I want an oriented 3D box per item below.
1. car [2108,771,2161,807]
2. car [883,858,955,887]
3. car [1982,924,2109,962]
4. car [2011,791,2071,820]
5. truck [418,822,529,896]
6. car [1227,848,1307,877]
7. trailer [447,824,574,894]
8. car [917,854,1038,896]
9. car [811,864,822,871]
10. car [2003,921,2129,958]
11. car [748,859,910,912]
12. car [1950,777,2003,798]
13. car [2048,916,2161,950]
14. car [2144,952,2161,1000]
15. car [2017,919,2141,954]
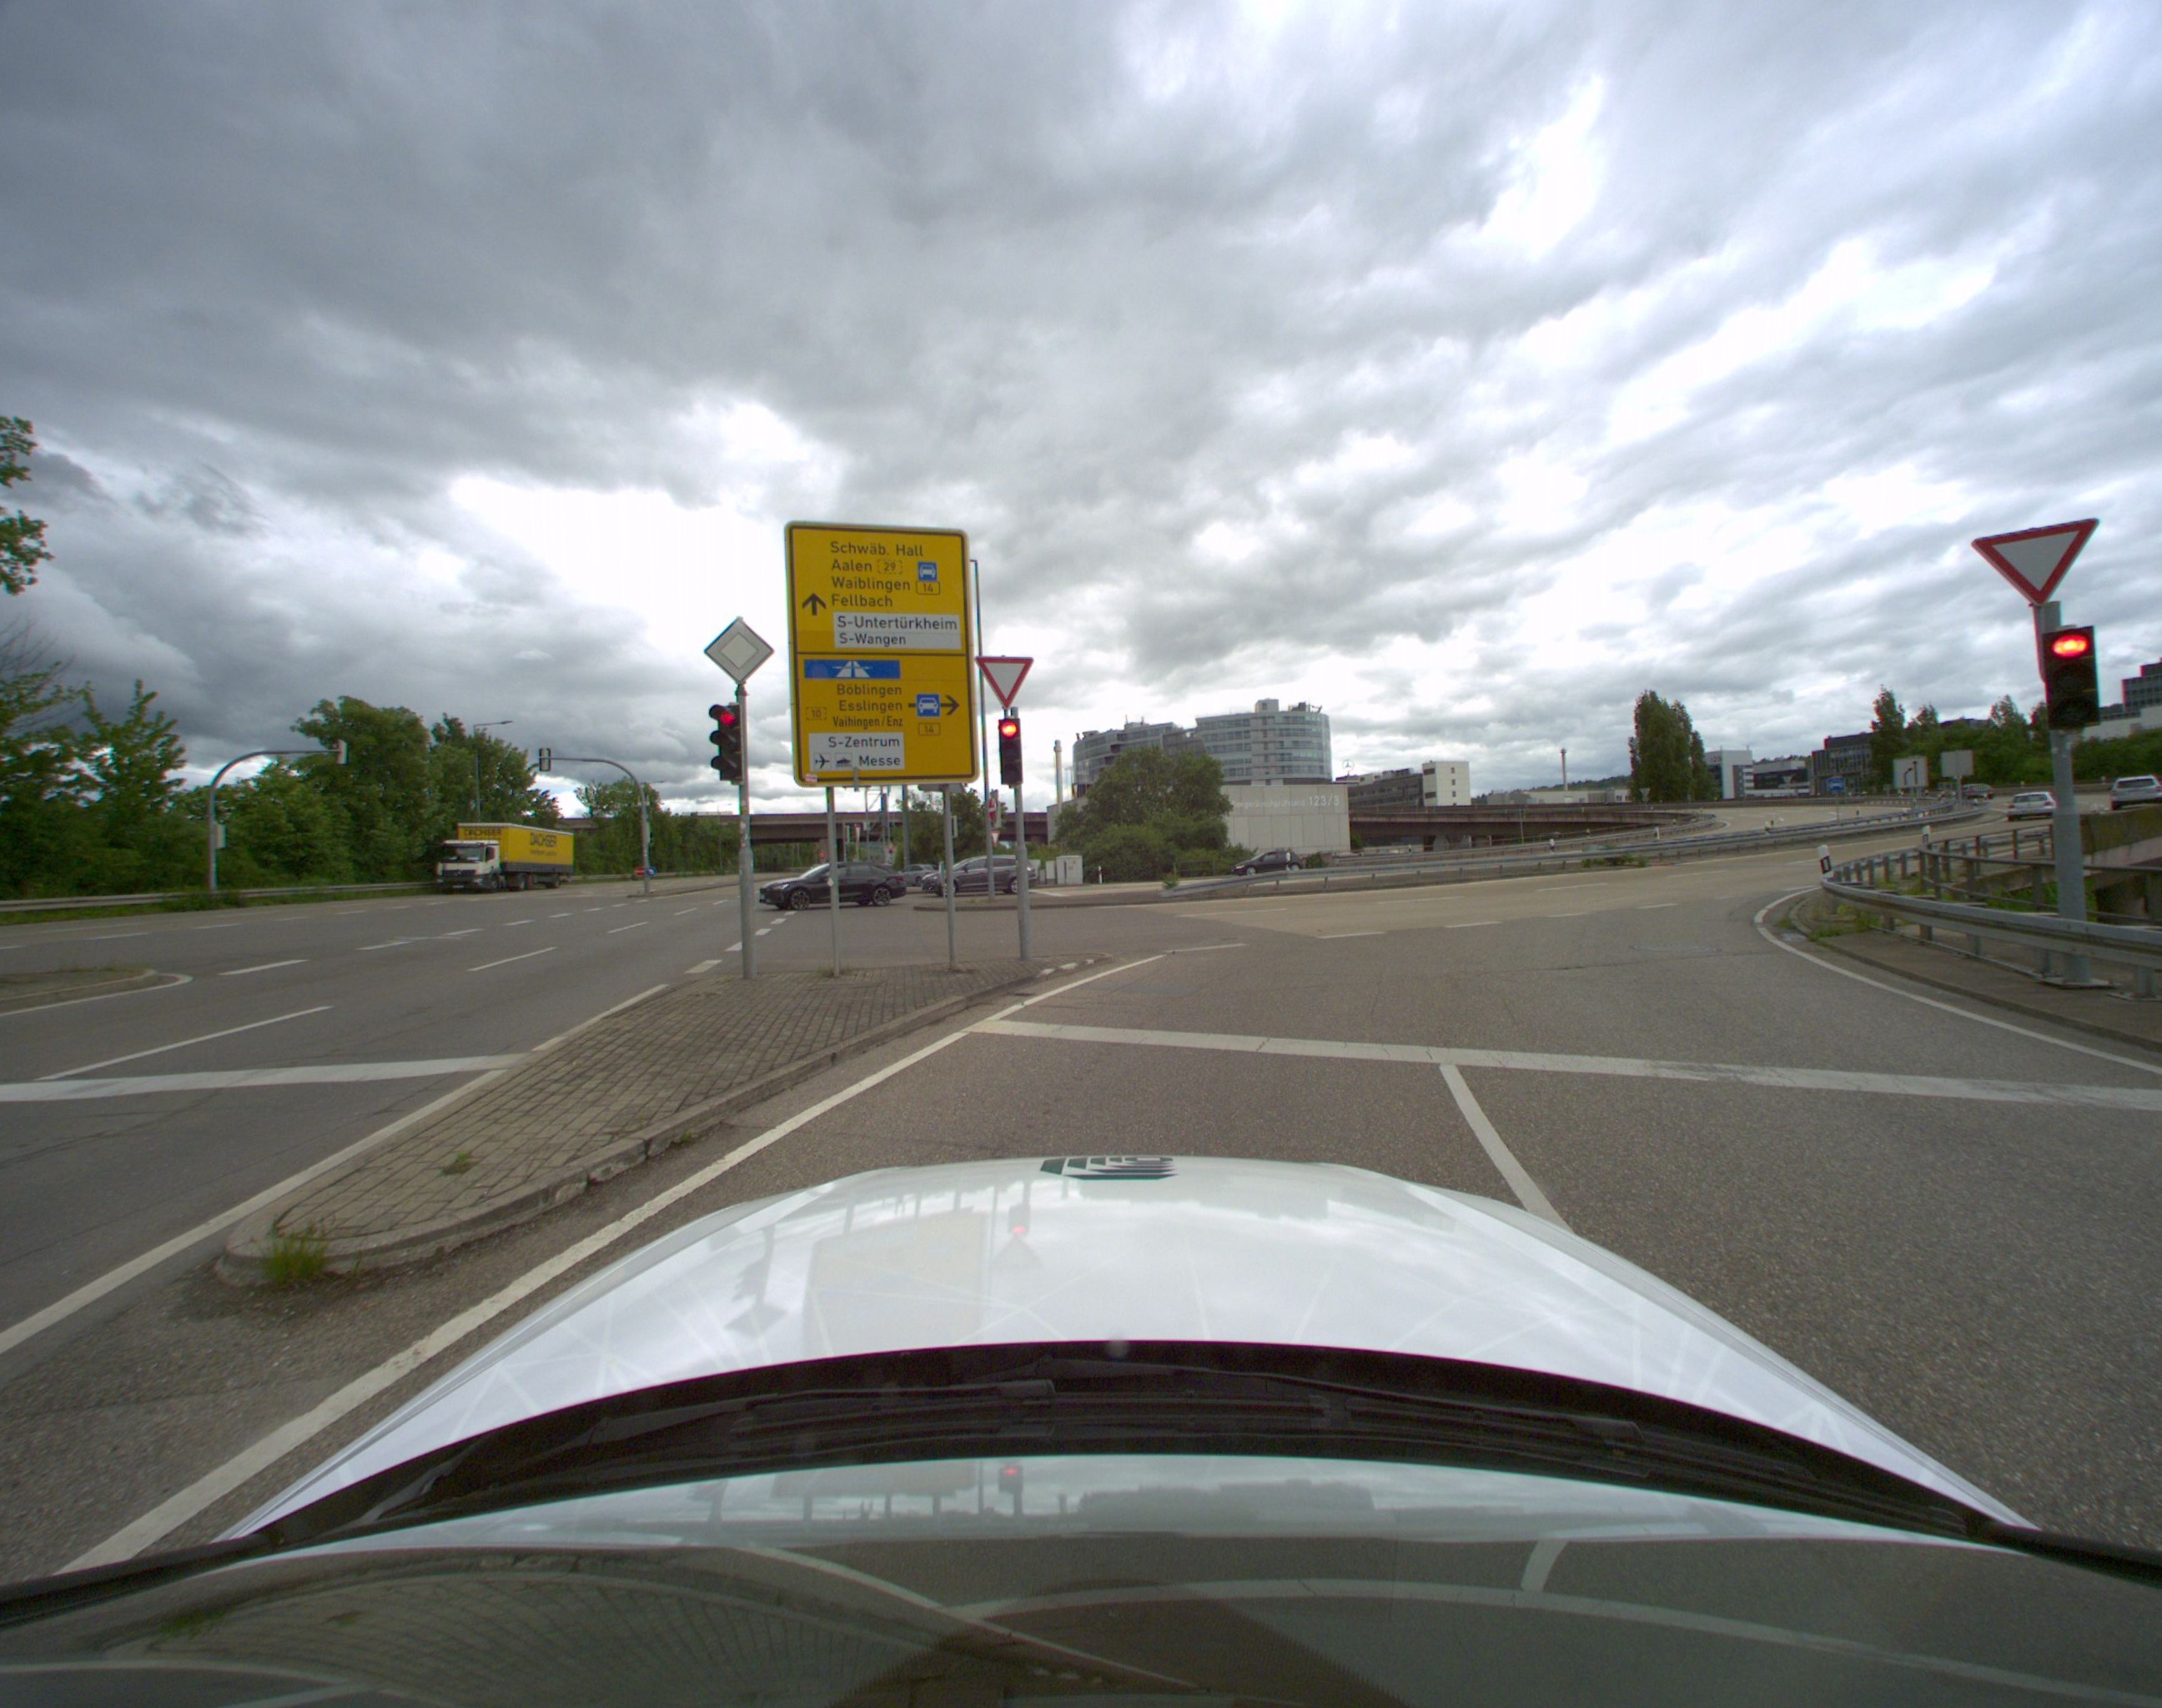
[{"bbox_3d":[56.442,-3.399,43.279,4.571,1.737,1.713,-2,0,-31],"label":"car"},{"bbox_3d":[-10.562,1.176,53.061,4.686,1.662,1.927,2,0,37],"label":"car"},{"bbox_3d":[48.151,4.407,40.731,1.832,1.354,3.827,-3,1,-29],"label":"car"},{"bbox_3d":[51.243,-2.555,43.463,4.084,1.400,1.711,-2,0,-35],"label":"car"},{"bbox_3d":[-35.708,0.298,48.185,2.876,4.084,6.456,1,0,-14],"label":"truck"},{"bbox_3d":[10.552,0.458,46.286,3.976,1.421,1.911,-3,0,-6],"label":"car"},{"bbox_3d":[-37.032,0.307,53.541,2.876,4.084,11.372,1,0,-14],"label":"trailer"},{"bbox_3d":[-4.309,0.831,33.856,4.692,1.571,1.944,-1,1,-19],"label":"car"},{"bbox_3d":[-61.358,3.219,188.725,1.862,1.383,3.857,2,1,-9],"label":"car"},{"bbox_3d":[50.308,4.319,41.684,1.832,1.354,3.827,-3,1,-29],"label":"car"},{"bbox_3d":[-8.119,0.949,26.418,4.642,1.457,1.934,-2,1,-37],"label":"car"},{"bbox_3d":[81.438,-6.036,74.130,1.708,1.461,4.269,-4,-1,26],"label":"car"},{"bbox_3d":[54.893,4.188,43.554,1.832,1.354,3.827,-3,1,-29],"label":"car"},{"bbox_3d":[41.651,4.495,30.246,4.006,1.534,1.812,-3,1,-25],"label":"car"},{"bbox_3d":[52.194,4.272,42.663,1.832,1.354,3.827,-3,1,-29],"label":"car"}]
